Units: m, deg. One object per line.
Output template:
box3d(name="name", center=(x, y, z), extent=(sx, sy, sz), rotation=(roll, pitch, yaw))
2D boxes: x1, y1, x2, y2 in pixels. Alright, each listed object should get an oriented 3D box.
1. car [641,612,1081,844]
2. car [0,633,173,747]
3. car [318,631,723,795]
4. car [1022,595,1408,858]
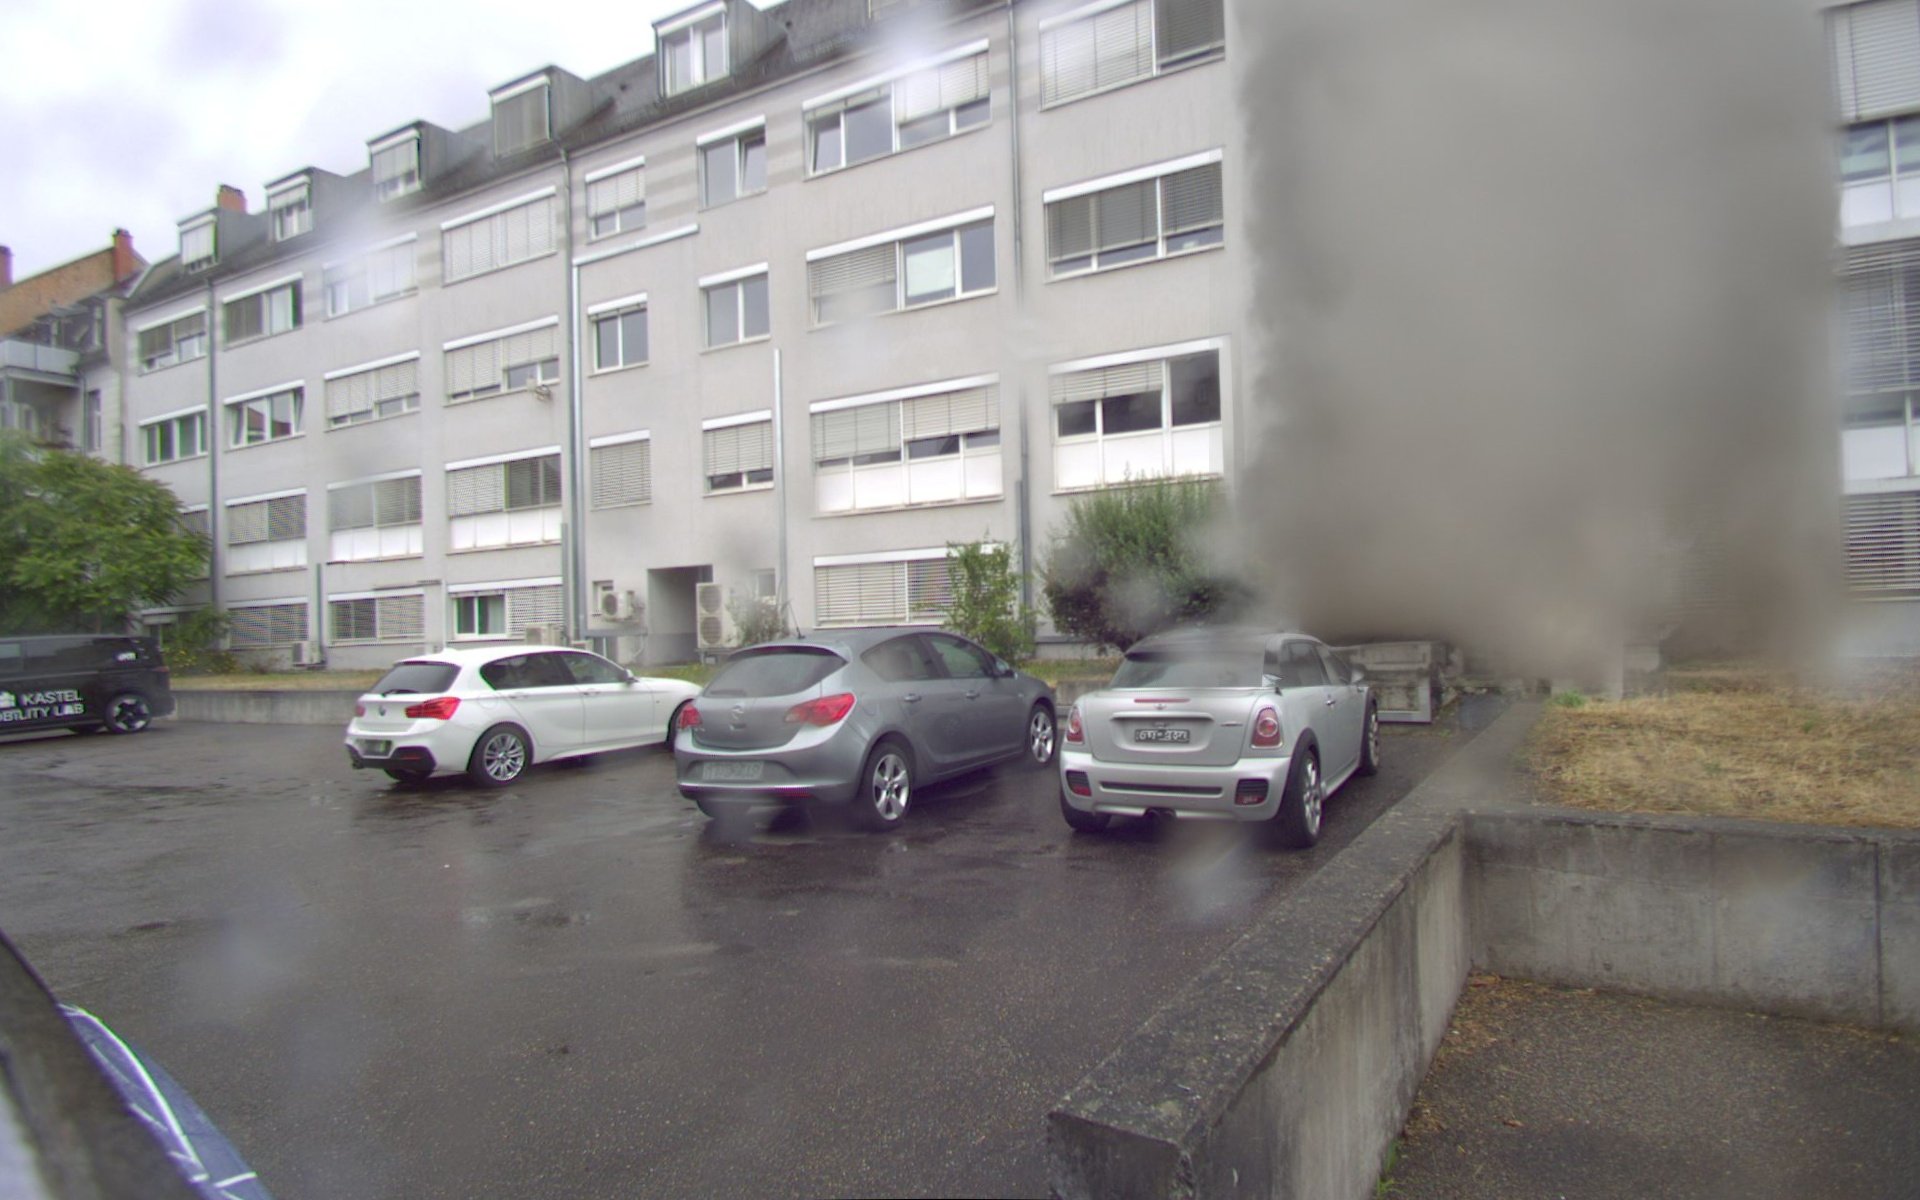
box3d(name="car", center=(-0.581, 0.916, 8.946), extent=(1.814, 1.495, 4.138), rotation=(-4, -2, 29))
box3d(name="car", center=(-17.203, 1.645, 18.043), extent=(1.978, 1.850, 4.590), rotation=(-4, -2, 26))
box3d(name="car", center=(-4.834, 1.148, 11.754), extent=(1.746, 1.444, 4.112), rotation=(-2, -1, 29))
box3d(name="car", center=(2.264, 0.760, 7.984), extent=(1.815, 1.343, 4.137), rotation=(-4, 0, 30))
